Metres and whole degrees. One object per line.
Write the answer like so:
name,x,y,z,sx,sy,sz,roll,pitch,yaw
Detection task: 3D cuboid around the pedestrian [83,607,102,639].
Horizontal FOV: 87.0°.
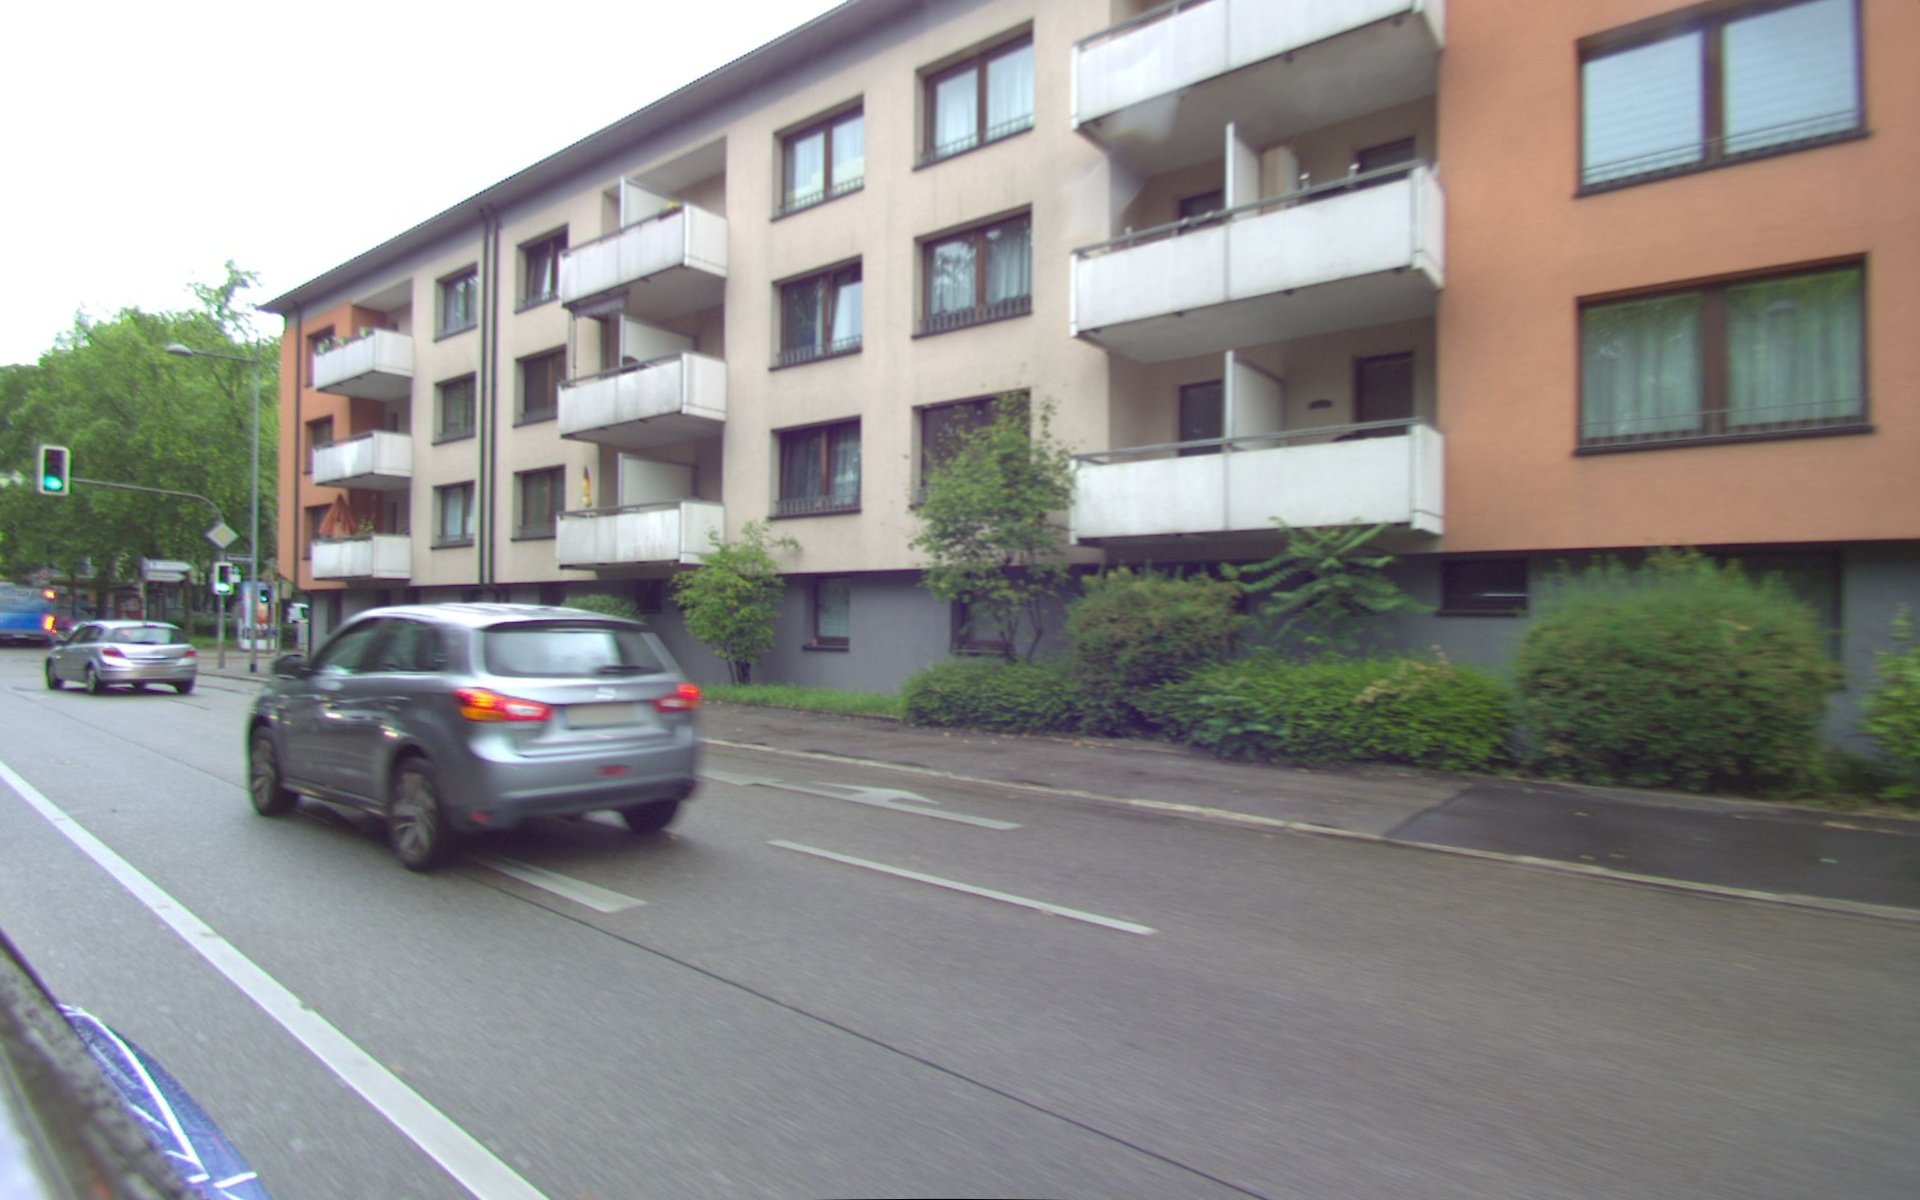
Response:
pedestrian,-49.874,1.317,58.160,0.687,1.782,0.702,0,1,41

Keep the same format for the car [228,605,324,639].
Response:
car,-39.650,1.313,58.778,1.701,1.937,4.280,-1,-2,38

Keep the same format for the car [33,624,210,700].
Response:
car,-17.338,1.228,20.874,4.039,1.426,1.797,-1,-3,35

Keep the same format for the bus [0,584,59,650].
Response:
bus,-47.413,0.799,50.085,12.079,2.962,2.665,0,-2,41

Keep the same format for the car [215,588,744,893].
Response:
car,-3.647,0.809,7.353,4.227,1.591,1.795,-1,-3,39
